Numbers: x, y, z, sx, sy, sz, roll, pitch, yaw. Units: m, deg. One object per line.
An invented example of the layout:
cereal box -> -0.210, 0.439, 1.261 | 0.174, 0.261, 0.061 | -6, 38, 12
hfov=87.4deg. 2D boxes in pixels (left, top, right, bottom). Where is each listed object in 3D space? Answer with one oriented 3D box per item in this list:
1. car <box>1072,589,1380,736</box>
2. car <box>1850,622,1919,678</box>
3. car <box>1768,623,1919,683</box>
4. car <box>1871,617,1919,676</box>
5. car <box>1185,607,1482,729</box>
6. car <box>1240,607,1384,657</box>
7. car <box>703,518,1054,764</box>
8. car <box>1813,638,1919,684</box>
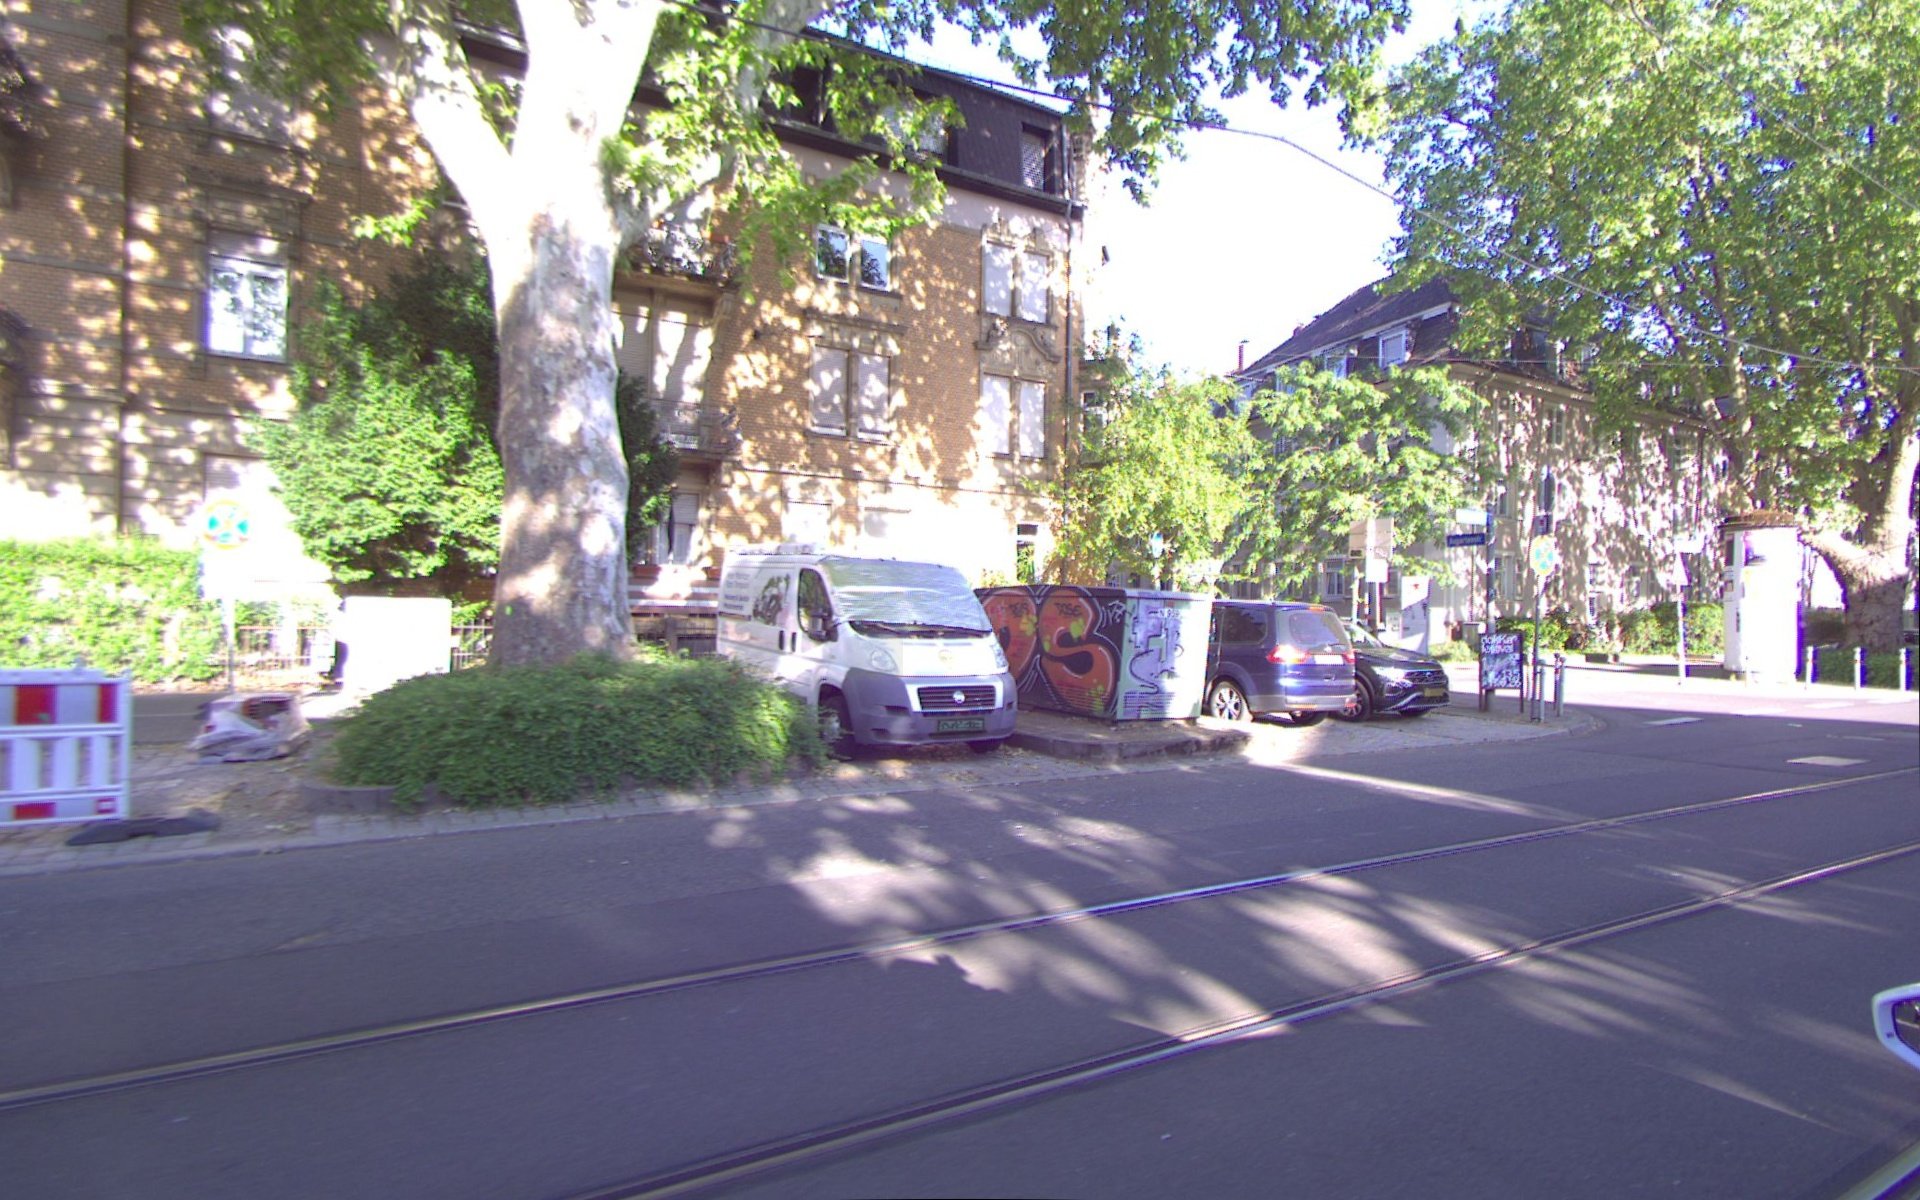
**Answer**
car -> 3.761, 0.788, 14.943 | 1.905, 1.825, 4.275 | 1, 0, -32
car -> 30.041, 1.509, 30.479 | 1.766, 1.696, 4.269 | 2, -4, -37
car -> 25.903, 1.509, 28.539 | 1.766, 1.614, 4.269 | 2, -4, -37
car -> 31.939, 1.452, 31.803 | 1.766, 1.864, 4.269 | 2, -4, -37
car -> 5.922, 0.987, 16.445 | 1.905, 1.628, 4.275 | 1, 0, -32
car -> 12.414, 1.122, 35.435 | 4.669, 1.613, 1.853 | 2, 0, -21
car -> -1.247, 0.358, 12.030 | 2.063, 2.289, 5.003 | 1, 0, -33
car -> 28.182, 1.804, 29.677 | 1.695, 1.307, 4.269 | 2, -4, -37
